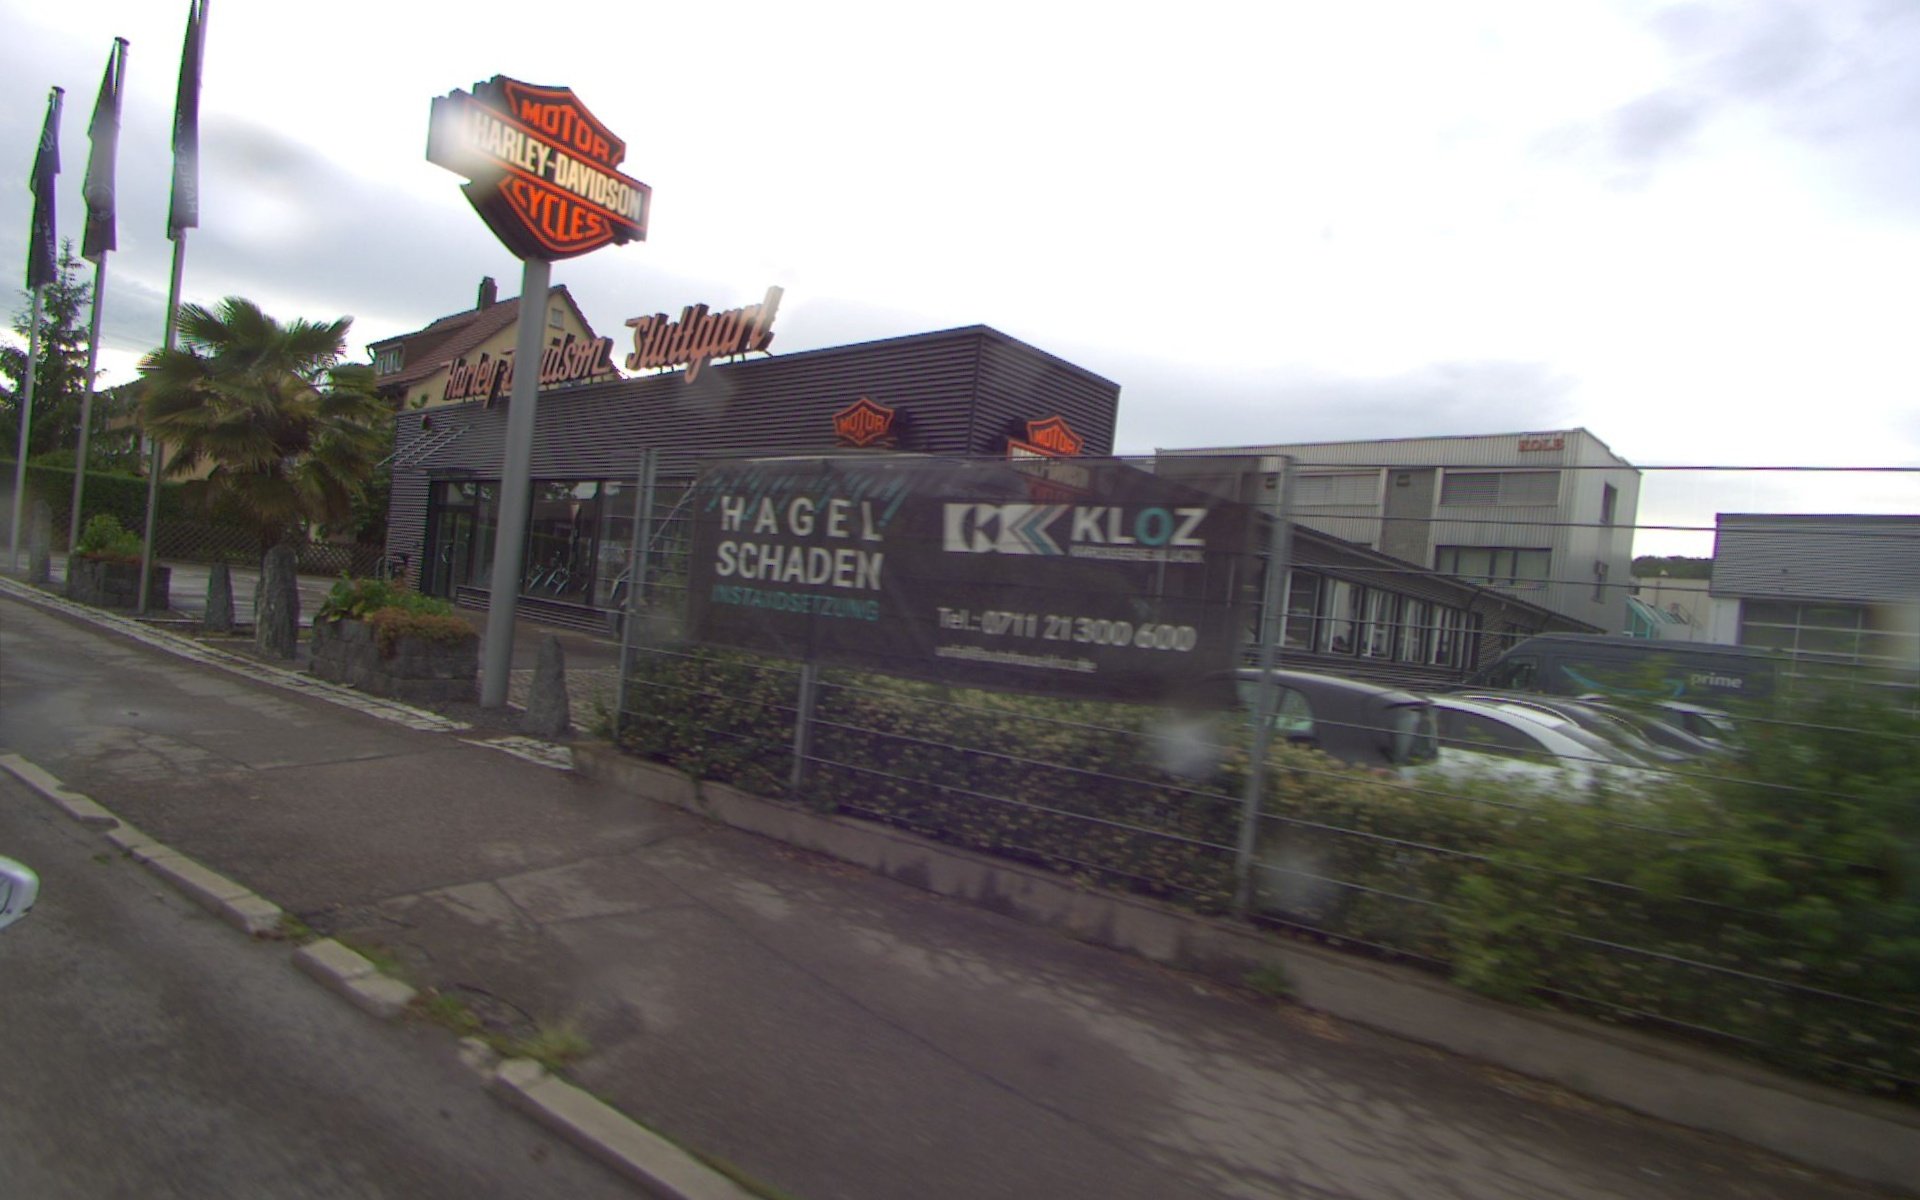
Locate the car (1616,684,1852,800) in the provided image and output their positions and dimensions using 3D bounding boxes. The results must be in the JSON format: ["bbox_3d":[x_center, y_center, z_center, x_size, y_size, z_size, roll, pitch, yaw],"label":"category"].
[{"bbox_3d":[14.860,2.660,19.417,3.349,1.591,1.635,7,0,41],"label":"car"}]

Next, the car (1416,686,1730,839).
[{"bbox_3d":[8.335,2.121,13.803,3.349,1.374,1.635,7,0,41],"label":"car"}]

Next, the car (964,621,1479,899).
[{"bbox_3d":[1.881,1.049,7.722,3.349,1.331,1.635,7,0,41],"label":"car"}]

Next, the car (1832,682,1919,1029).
[{"bbox_3d":[7.342,1.667,6.060,4.071,1.861,1.760,7,0,-30],"label":"car"}]

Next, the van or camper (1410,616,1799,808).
[{"bbox_3d":[11.992,1.949,19.064,5.664,2.589,2.327,7,0,44],"label":"van or camper"}]

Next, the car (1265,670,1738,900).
[{"bbox_3d":[4.717,1.485,8.983,3.349,1.224,1.635,7,0,41],"label":"car"}]

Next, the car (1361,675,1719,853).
[{"bbox_3d":[6.827,1.829,11.997,3.349,1.374,1.635,7,0,41],"label":"car"}]

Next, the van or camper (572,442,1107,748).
[{"bbox_3d":[-1.747,-0.227,11.500,6.497,2.625,2.038,7,0,41],"label":"van or camper"}]

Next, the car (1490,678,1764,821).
[{"bbox_3d":[10.621,2.296,16.124,3.349,1.591,1.635,7,0,41],"label":"car"}]
